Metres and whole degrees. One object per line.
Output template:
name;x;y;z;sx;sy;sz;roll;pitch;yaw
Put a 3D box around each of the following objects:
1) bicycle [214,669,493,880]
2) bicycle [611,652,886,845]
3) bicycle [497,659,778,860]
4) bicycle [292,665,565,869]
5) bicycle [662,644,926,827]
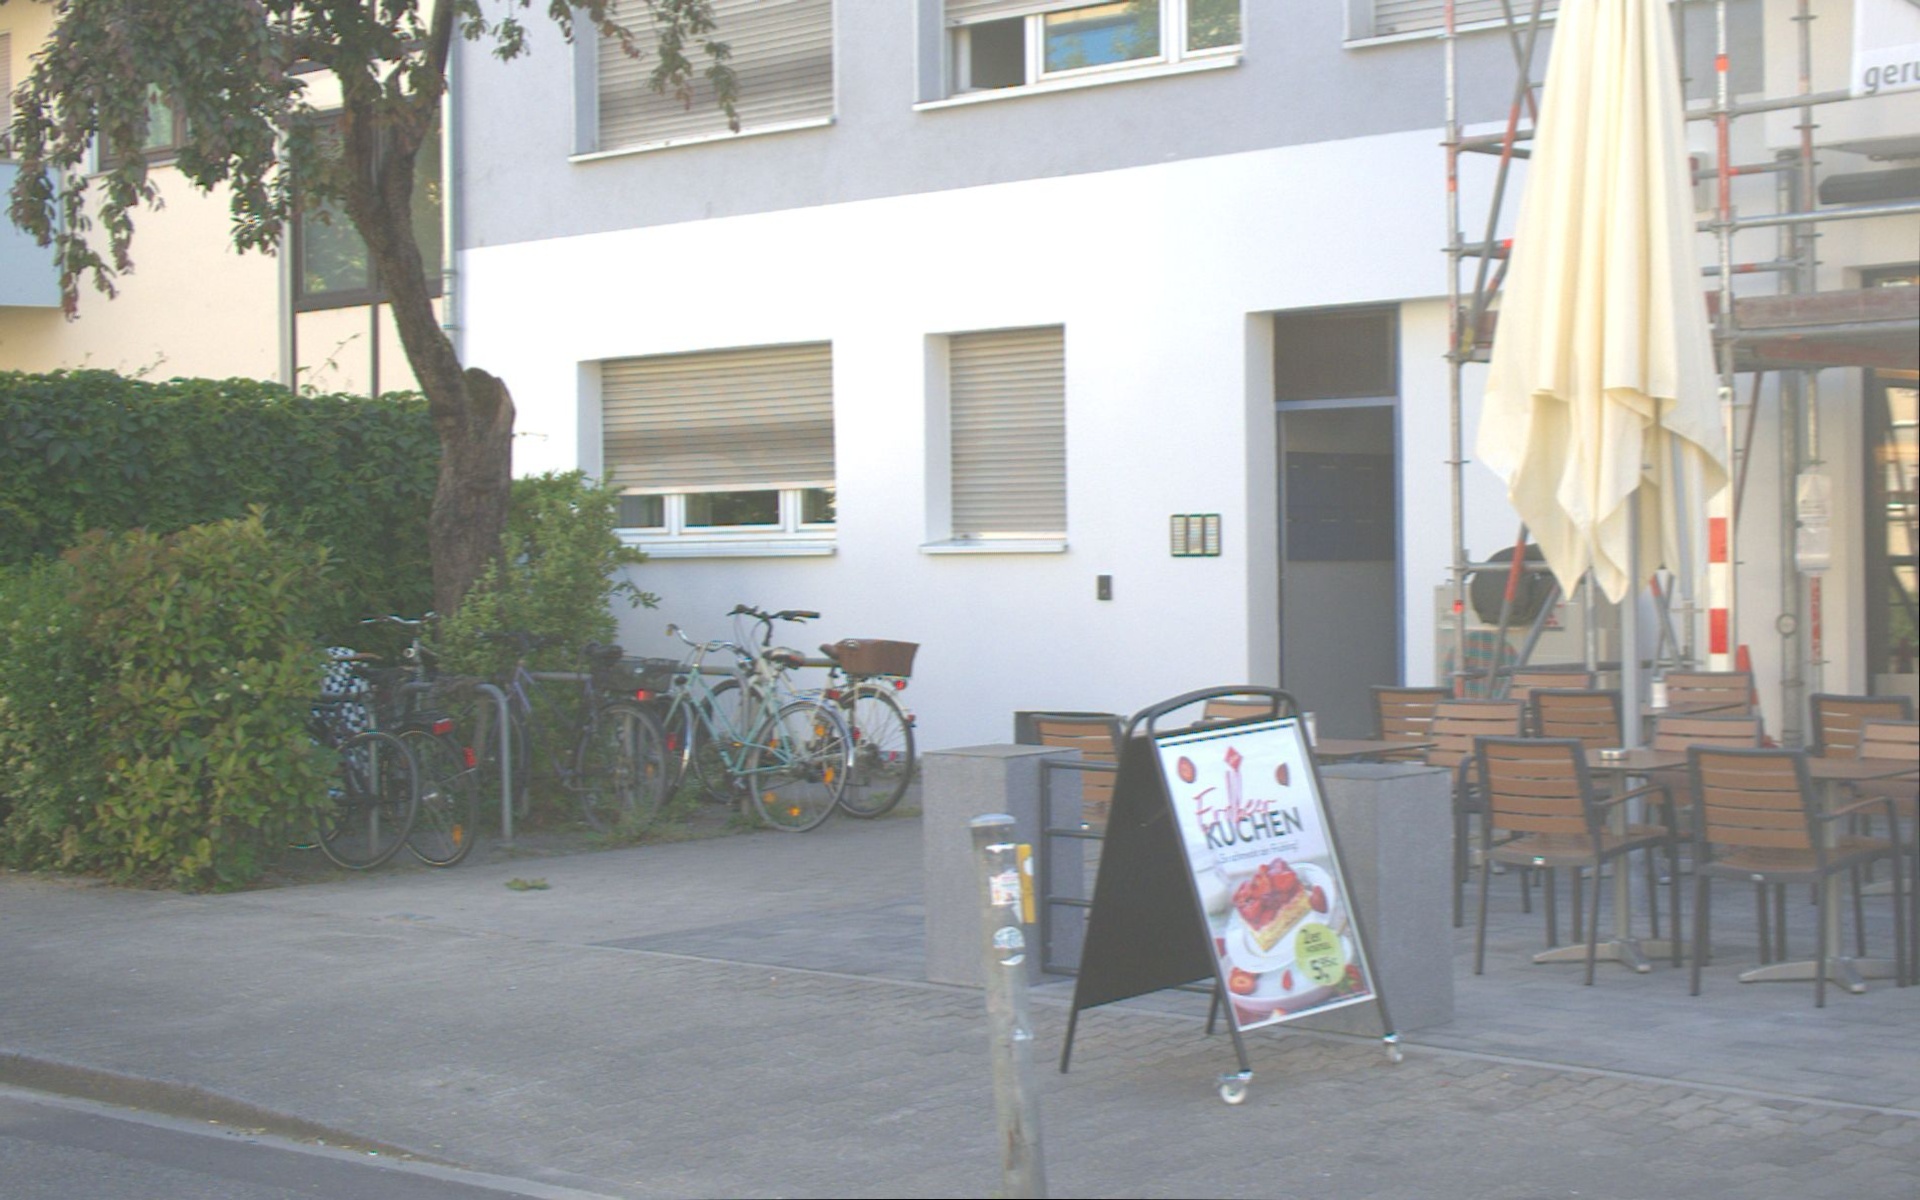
bicycle;-2.944;0.821;16.603;0.511;0.937;1.593;-1;1;-44
bicycle;-1.125;0.756;18.001;0.511;0.937;1.593;-1;1;-44
bicycle;-1.637;0.782;17.295;0.511;0.937;1.593;-1;1;-44
bicycle;-2.670;0.812;17.175;0.511;0.937;1.593;-1;1;-44
bicycle;-0.924;0.723;18.874;0.511;0.937;1.593;-1;1;-44
